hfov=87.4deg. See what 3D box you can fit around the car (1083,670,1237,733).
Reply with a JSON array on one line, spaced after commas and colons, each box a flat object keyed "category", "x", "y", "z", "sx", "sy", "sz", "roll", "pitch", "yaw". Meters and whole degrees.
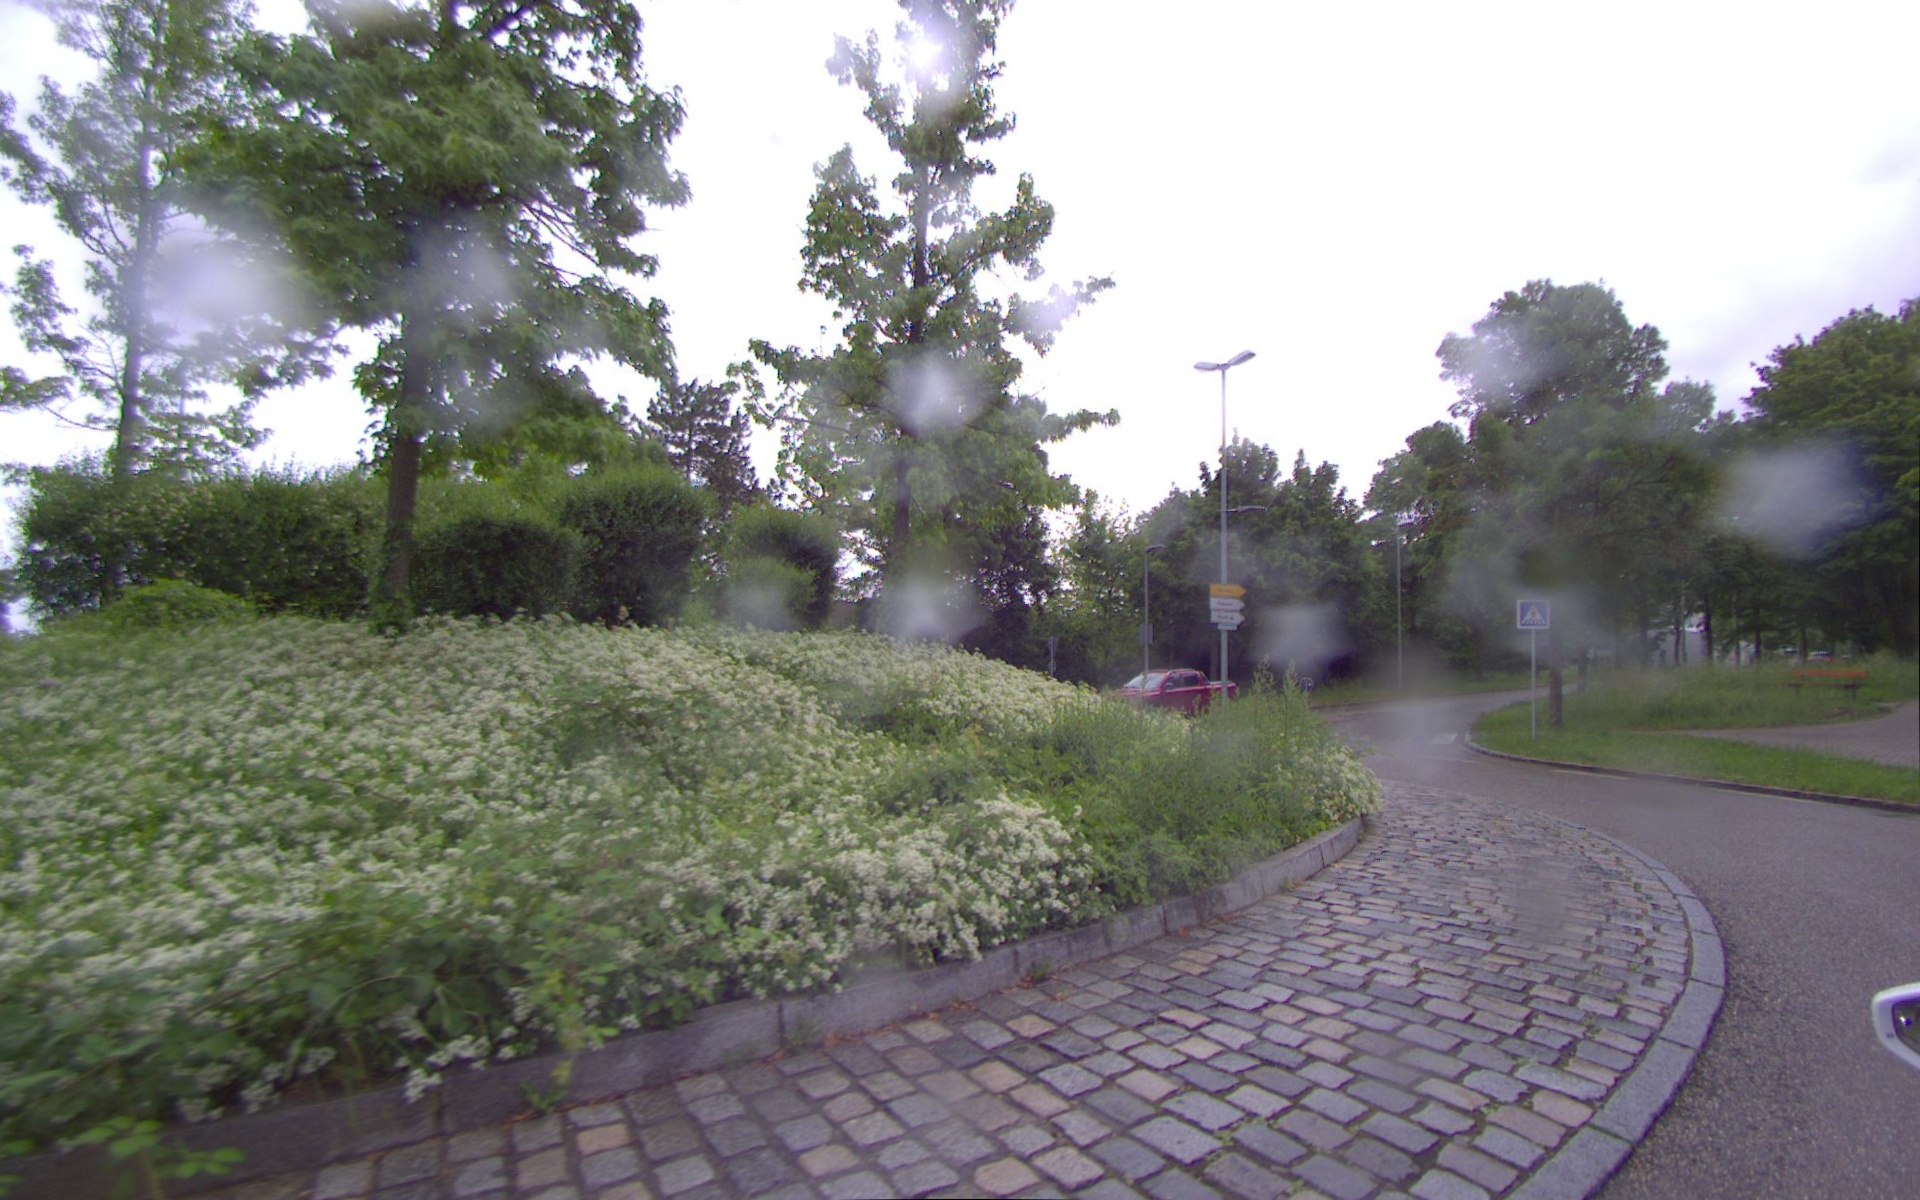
[{"category": "car", "x": 6.430, "y": 3.174, "z": 32.013, "sx": 5.066, "sy": 1.818, "sz": 1.979, "roll": 3, "pitch": -5, "yaw": -38}]
